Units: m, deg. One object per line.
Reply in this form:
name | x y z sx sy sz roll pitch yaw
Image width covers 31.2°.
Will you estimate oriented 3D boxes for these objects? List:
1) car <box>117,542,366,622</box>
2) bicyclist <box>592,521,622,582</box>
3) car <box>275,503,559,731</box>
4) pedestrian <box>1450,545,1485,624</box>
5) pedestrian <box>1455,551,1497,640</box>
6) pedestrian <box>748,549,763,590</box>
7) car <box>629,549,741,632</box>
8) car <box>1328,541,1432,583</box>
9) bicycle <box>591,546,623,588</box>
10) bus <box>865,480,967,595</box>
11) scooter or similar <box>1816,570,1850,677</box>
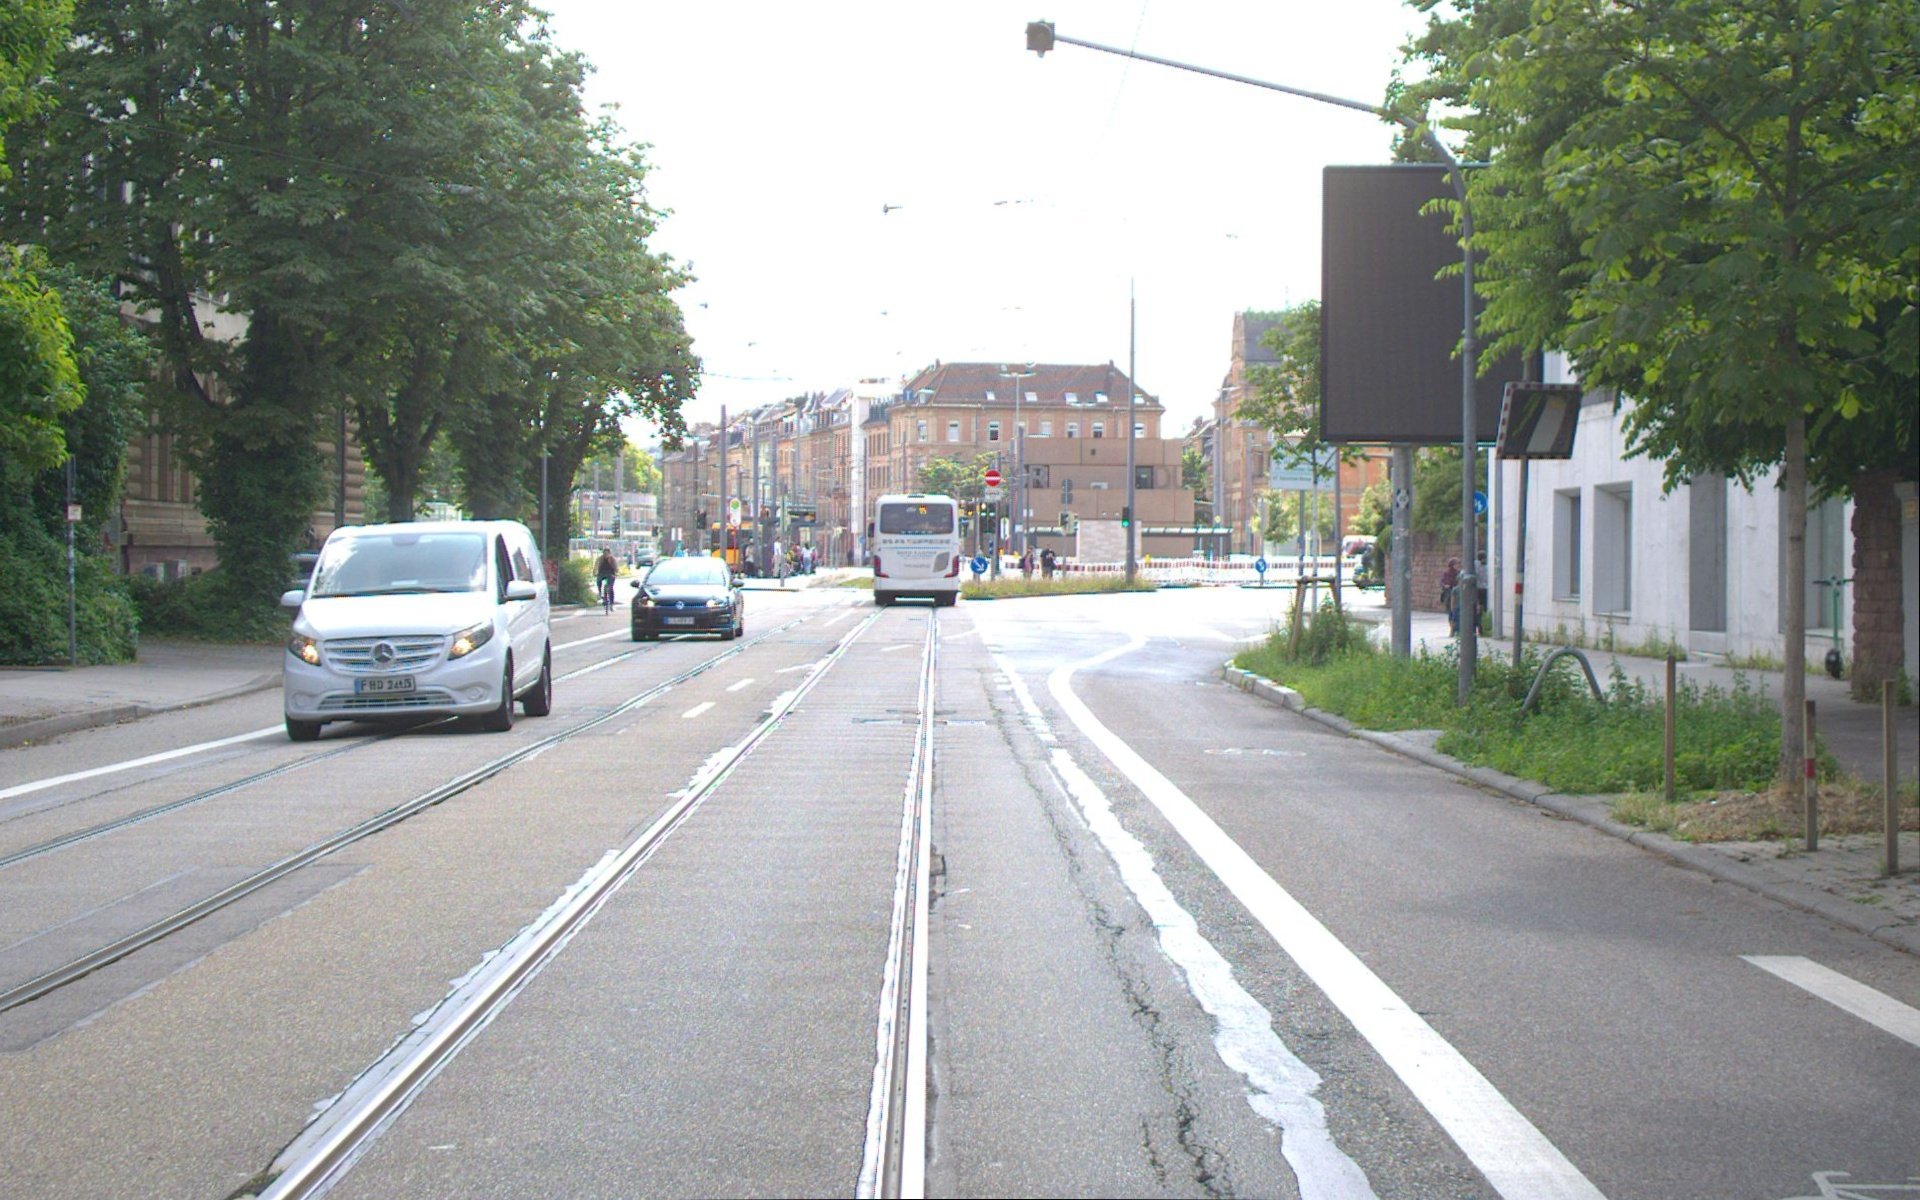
car | -13.440 -0.346 64.329 4.227 1.442 1.794 0 1 -27
bicyclist | -8.775 -1.210 85.532 0.691 1.514 0.868 -1 1 -3
car | -4.860 0.097 31.473 1.897 1.901 5.385 0 1 -2
pedestrian | 10.265 -0.317 69.556 0.519 1.575 0.549 -2 2 -10
pedestrian | 10.216 -0.099 68.138 0.684 1.718 0.747 -1 2 0
pedestrian | -9.326 -1.405 156.734 0.611 1.878 0.794 0 1 0
car | -4.794 -0.183 60.307 1.688 1.397 3.931 0 1 -1
car | 17.715 -1.605 144.882 4.090 1.678 2.136 0 2 -41
bicycle | -8.772 -0.829 85.536 0.698 1.014 1.820 -1 1 -4
bus | -1.408 -1.888 106.980 2.917 3.317 12.207 1 0 -1
scooter or similar | 9.808 0.251 38.649 0.322 1.177 1.147 1 1 13
